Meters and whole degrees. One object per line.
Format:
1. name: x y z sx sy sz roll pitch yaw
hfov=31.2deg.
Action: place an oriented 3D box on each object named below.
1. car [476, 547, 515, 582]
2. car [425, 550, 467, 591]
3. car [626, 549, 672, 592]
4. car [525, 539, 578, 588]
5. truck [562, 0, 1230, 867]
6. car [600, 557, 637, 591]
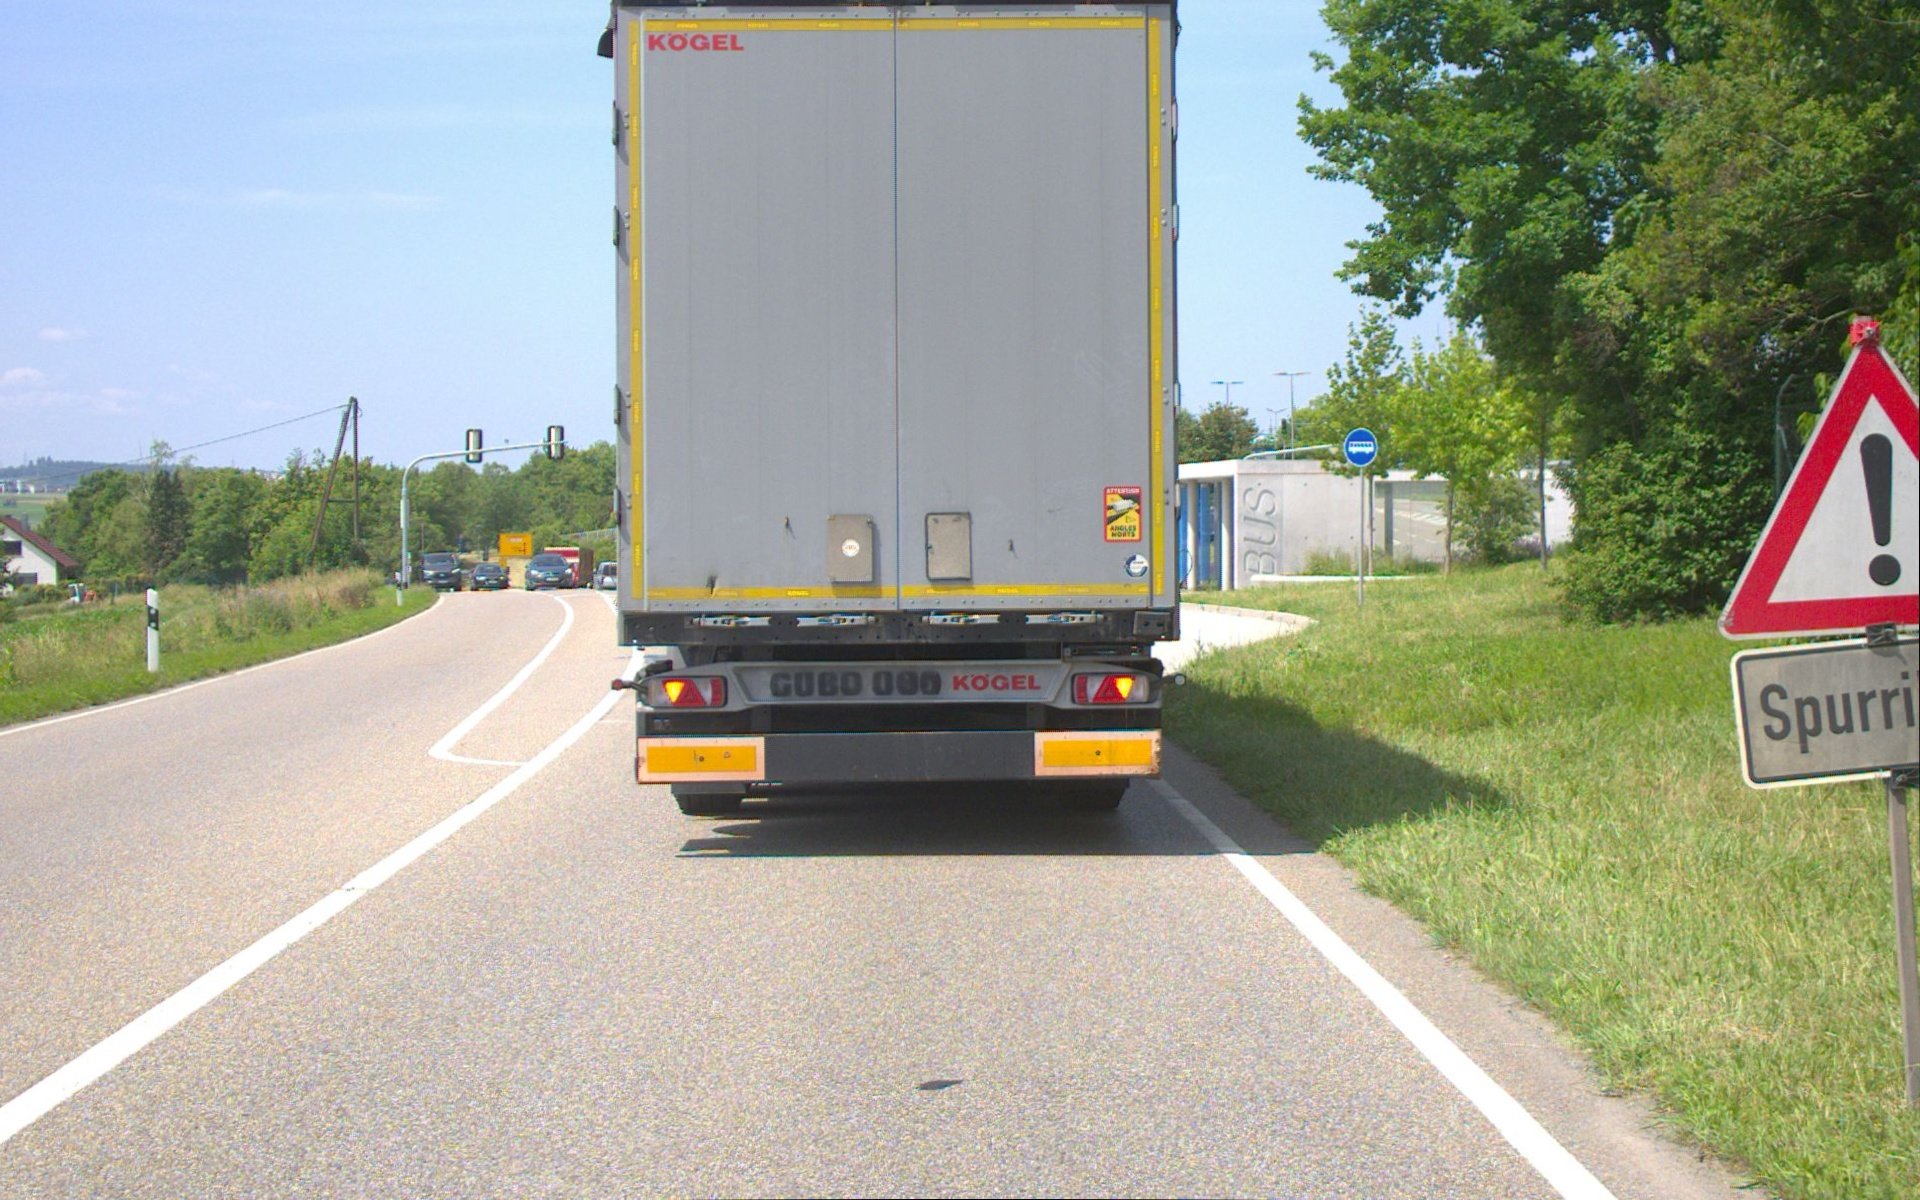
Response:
1. car: -25.669 -1.978 190.039 1.993 1.809 4.297 -3 1 -7
2. car: -26.339 -1.513 176.303 1.993 1.971 5.280 -2 1 -8
3. car: -15.604 -1.495 172.628 2.171 2.007 4.527 -2 1 -4
4. car: -16.988 -1.539 143.186 1.993 1.943 4.503 -2 1 -5
5. truck: -0.495 -1.131 19.444 2.907 4.394 8.861 0 1 -3
6. car: -19.022 -1.464 191.862 1.892 1.771 4.387 -2 1 -4
